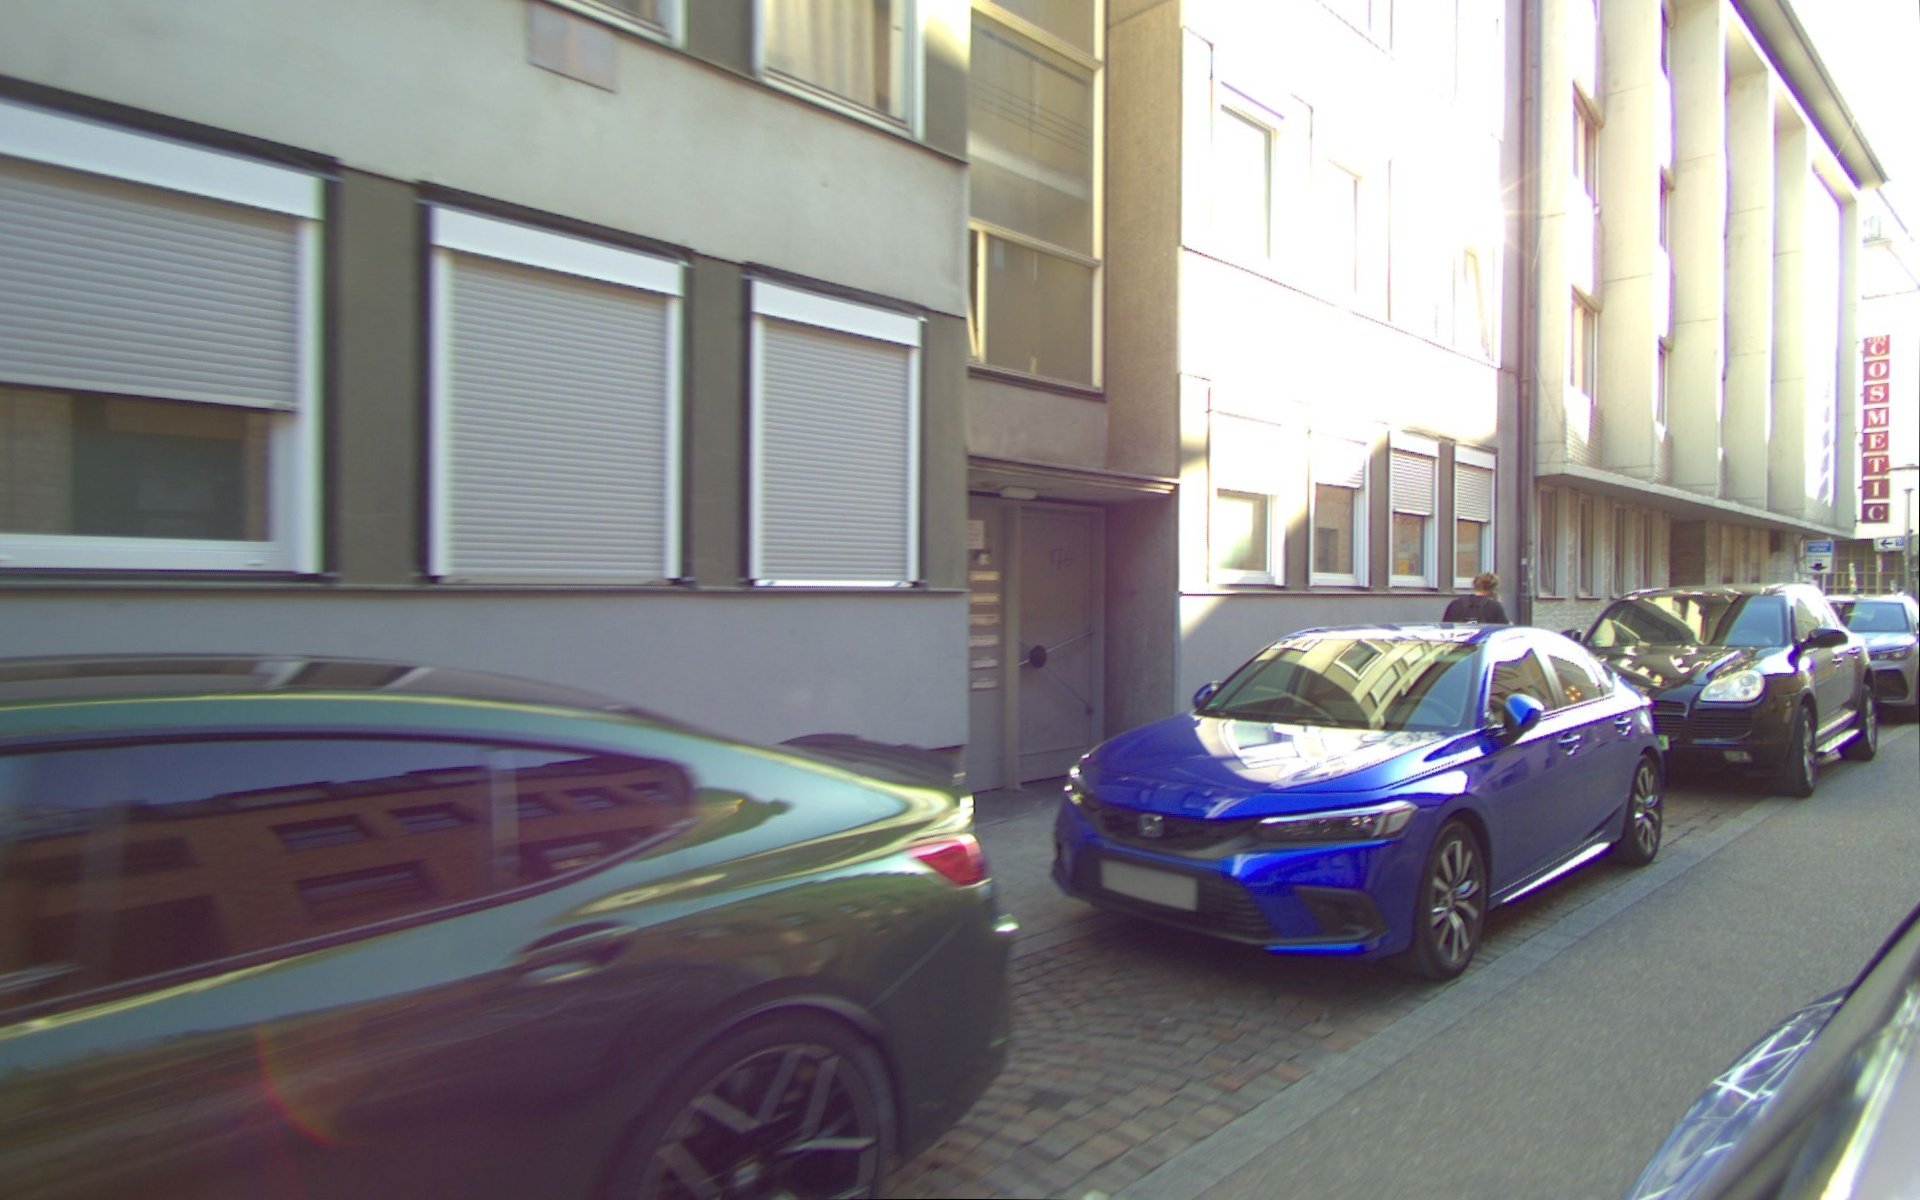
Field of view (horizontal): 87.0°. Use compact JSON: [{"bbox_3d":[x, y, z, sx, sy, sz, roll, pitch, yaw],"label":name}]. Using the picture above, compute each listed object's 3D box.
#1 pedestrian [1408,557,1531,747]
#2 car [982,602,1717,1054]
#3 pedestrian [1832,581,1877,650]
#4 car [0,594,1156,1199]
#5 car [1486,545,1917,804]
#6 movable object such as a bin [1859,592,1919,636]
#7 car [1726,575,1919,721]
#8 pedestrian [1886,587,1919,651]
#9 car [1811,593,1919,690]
[{"bbox_3d":[4.943,0.464,9.822,0.733,1.742,0.790,0,2,-40],"label":"pedestrian"},{"bbox_3d":[2.460,0.770,5.562,4.708,1.431,1.809,0,-2,-42],"label":"car"},{"bbox_3d":[23.078,0.396,26.116,0.611,1.758,0.626,0,0,4],"label":"pedestrian"},{"bbox_3d":[-2.037,0.753,1.698,5.135,1.471,1.897,0,-1,-41],"label":"car"},{"bbox_3d":[7.106,0.520,9.474,4.962,1.808,2.107,0,-1,-40],"label":"car"},{"bbox_3d":[31.925,0.465,34.579,1.411,1.481,1.126,0,0,9],"label":"movable object such as a bin"},{"bbox_3d":[12.644,0.582,14.190,4.757,1.724,1.997,0,-2,-40],"label":"car"},{"bbox_3d":[23.439,0.460,25.109,0.570,1.559,0.436,3,2,34],"label":"pedestrian"},{"bbox_3d":[16.631,0.661,17.716,4.517,1.524,1.826,0,-3,-40],"label":"car"}]
